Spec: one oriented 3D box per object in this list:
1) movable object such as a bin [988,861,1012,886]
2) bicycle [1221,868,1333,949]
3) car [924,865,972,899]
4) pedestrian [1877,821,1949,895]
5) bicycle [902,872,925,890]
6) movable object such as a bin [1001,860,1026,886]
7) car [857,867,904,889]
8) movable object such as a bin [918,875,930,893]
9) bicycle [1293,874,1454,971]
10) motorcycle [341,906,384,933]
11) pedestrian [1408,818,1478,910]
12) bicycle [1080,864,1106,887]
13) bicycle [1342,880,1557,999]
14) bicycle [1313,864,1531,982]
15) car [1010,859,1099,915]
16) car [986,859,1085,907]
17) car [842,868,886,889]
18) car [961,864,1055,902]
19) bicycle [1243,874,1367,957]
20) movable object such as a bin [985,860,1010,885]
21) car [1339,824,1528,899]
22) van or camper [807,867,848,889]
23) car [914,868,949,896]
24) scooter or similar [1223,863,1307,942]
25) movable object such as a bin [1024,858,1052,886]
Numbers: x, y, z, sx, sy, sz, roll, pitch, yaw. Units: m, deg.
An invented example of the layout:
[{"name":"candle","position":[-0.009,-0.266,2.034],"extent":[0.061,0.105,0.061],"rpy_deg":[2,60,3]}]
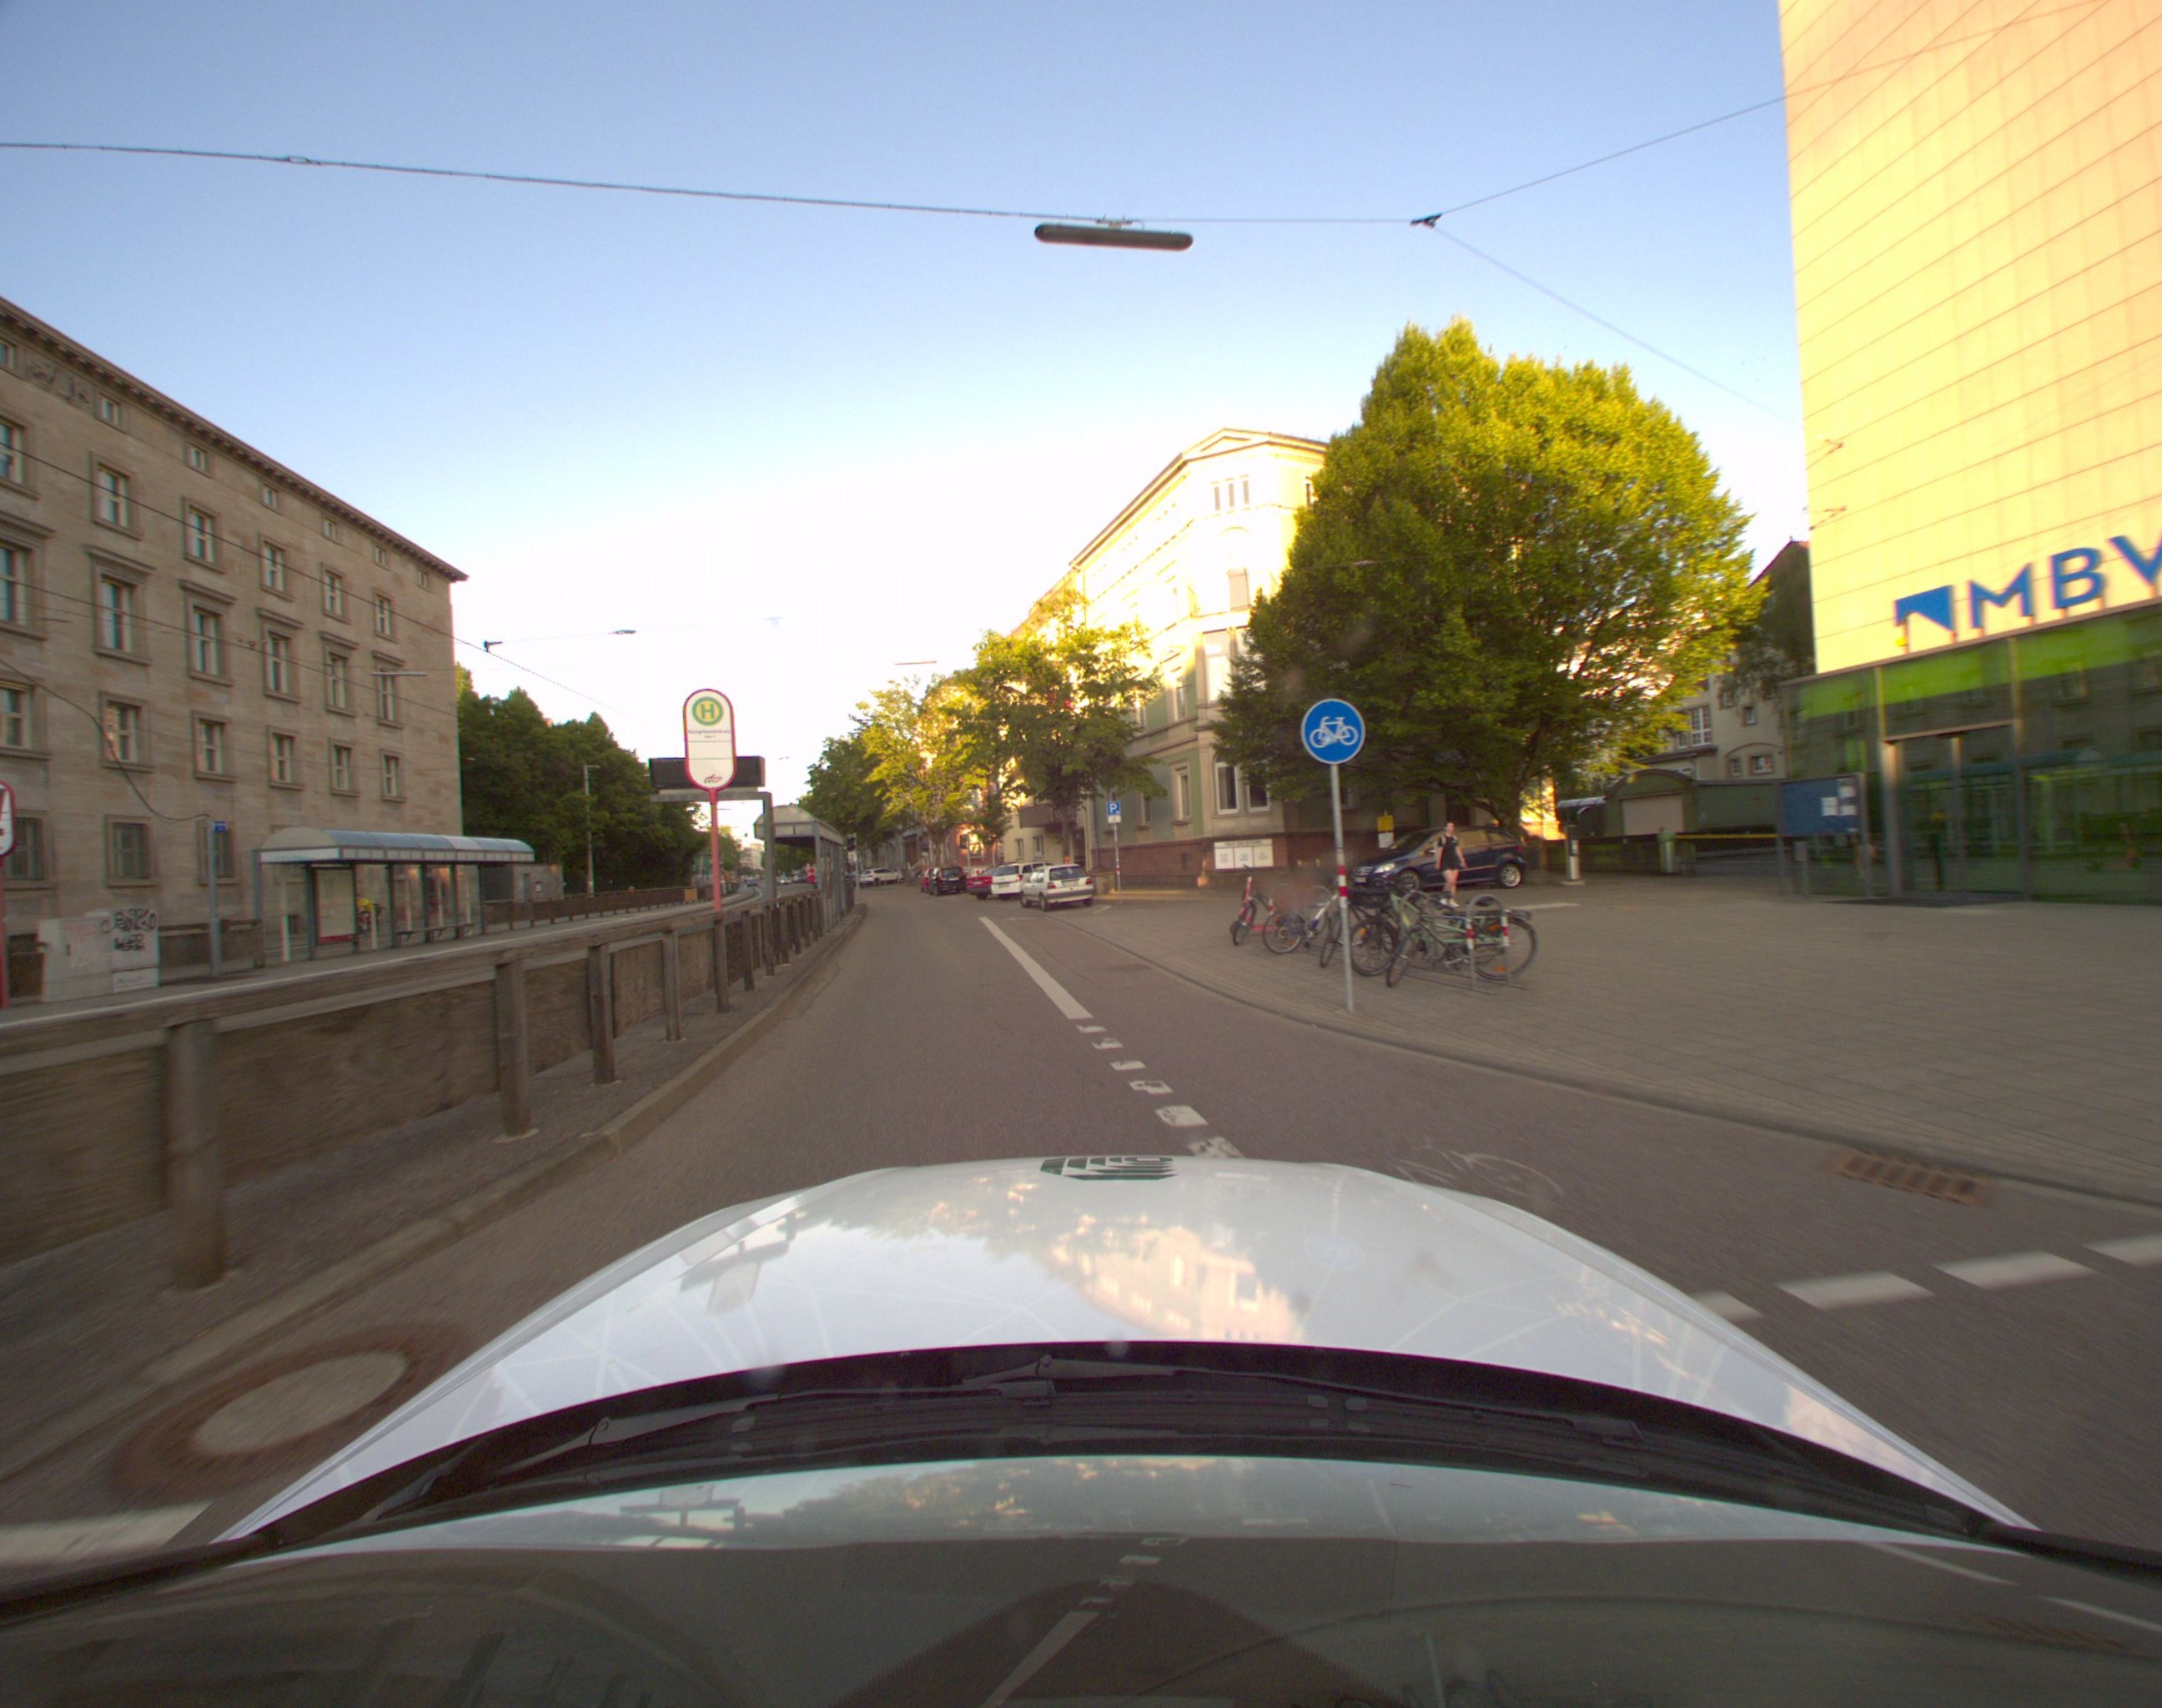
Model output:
[{"name":"movable object such as a bin","position":[-5.092,1.238,51.289],"extent":[1.077,1.502,1.308],"rpy_deg":[-3,-1,-25]},{"name":"bicycle","position":[3.117,0.850,13.021],"extent":[1.525,1.162,0.742],"rpy_deg":[-3,-1,-8]},{"name":"car","position":[-7.276,1.522,44.346],"extent":[1.750,1.632,4.060],"rpy_deg":[-5,0,-20]},{"name":"pedestrian","position":[14.167,0.073,13.881],"extent":[0.541,1.208,0.613],"rpy_deg":[-3,-1,-9]},{"name":"bicycle","position":[-13.383,2.145,65.068],"extent":[0.594,1.266,1.931],"rpy_deg":[-4,0,33]},{"name":"movable object such as a bin","position":[-4.183,1.154,50.186],"extent":[1.145,1.502,1.260],"rpy_deg":[-3,-1,-23]},{"name":"car","position":[-18.560,2.179,75.500],"extent":[1.652,1.626,3.981],"rpy_deg":[-4,2,37]},{"name":"movable object such as a bin","position":[-10.537,2.015,54.718],"extent":[0.712,1.153,0.586],"rpy_deg":[-3,-1,-11]},{"name":"bicycle","position":[3.717,0.847,10.414],"extent":[1.754,1.074,0.742],"rpy_deg":[-3,-1,-8]},{"name":"motorcycle","position":[-27.998,2.534,31.763],"extent":[0.477,0.928,1.506],"rpy_deg":[-3,0,-9]},{"name":"pedestrian","position":[7.299,0.208,16.433],"extent":[0.710,1.768,0.981],"rpy_deg":[-3,-1,-25]},{"name":"bicycle","position":[0.567,1.041,39.327],"extent":[0.653,1.074,1.544],"rpy_deg":[-3,-1,-23]},{"name":"bicycle","position":[3.759,0.870,8.448],"extent":[1.849,1.074,0.746],"rpy_deg":[-3,-1,8]},{"name":"bicycle","position":[3.957,0.770,9.527],"extent":[2.229,1.132,0.742],"rpy_deg":[-4,0,-8]},{"name":"car","position":[-0.963,1.077,27.107],"extent":[1.686,1.552,3.972],"rpy_deg":[-6,1,-20]},{"name":"car","position":[-1.815,1.173,33.806],"extent":[1.699,1.725,4.237],"rpy_deg":[-3,0,36]},{"name":"car","position":[-21.964,2.440,82.419],"extent":[1.877,1.668,3.981],"rpy_deg":[-6,0,30]},{"name":"car","position":[-3.159,1.254,36.062],"extent":[1.624,1.454,4.237],"rpy_deg":[-3,-1,38]},{"name":"bicycle","position":[3.264,0.871,11.959],"extent":[1.550,1.074,0.742],"rpy_deg":[-3,-1,-8]},{"name":"movable object such as a bin","position":[-5.464,1.215,53.488],"extent":[1.145,1.502,1.586],"rpy_deg":[-3,-1,-23]},{"name":"car","position":[8.754,0.159,20.369],"extent":[3.984,1.574,1.797],"rpy_deg":[-3,1,-10]},{"name":"van or camper","position":[-37.256,3.513,119.816],"extent":[2.059,2.530,5.587],"rpy_deg":[-6,1,33]},{"name":"car","position":[-9.246,1.713,50.135],"extent":[1.569,1.536,3.670],"rpy_deg":[-5,0,-18]},{"name":"scooter or similar","position":[3.185,0.826,14.116],"extent":[1.200,1.225,0.589],"rpy_deg":[-5,0,-9]},{"name":"movable object such as a bin","position":[-2.435,1.012,46.027],"extent":[1.118,1.502,1.470],"rpy_deg":[-3,-1,-23]}]
